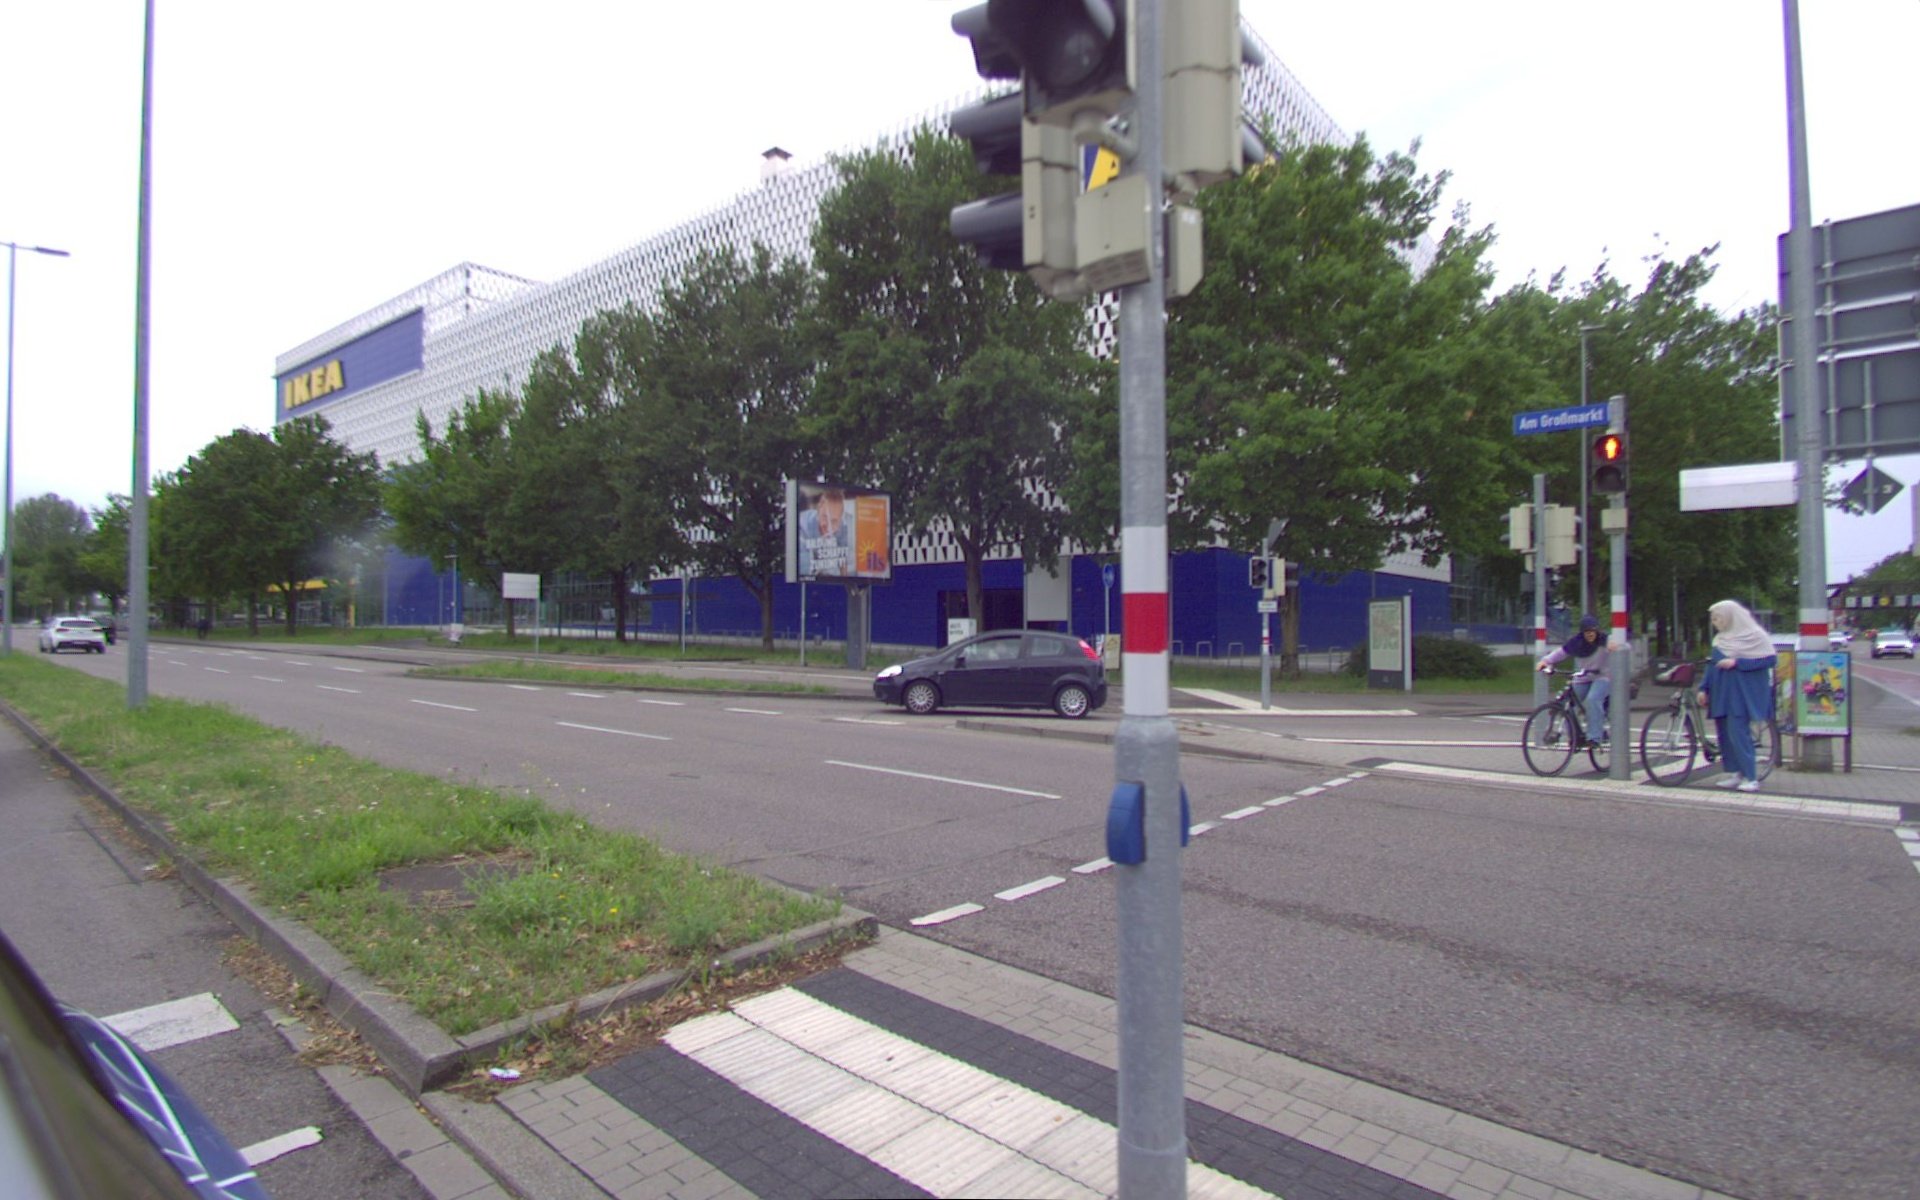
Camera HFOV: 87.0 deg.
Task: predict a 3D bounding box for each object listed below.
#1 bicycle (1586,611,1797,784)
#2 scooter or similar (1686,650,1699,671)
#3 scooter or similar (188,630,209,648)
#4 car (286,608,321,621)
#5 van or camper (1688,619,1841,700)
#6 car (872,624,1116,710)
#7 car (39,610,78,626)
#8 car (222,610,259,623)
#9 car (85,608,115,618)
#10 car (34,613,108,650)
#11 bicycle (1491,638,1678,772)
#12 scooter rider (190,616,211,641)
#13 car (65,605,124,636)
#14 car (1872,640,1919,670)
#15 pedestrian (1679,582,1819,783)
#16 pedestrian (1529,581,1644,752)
[{"bbox_3d":[6.476,0.829,8.950,1.900,1.407,0.599,1,-3,-24],"label":"bicycle"},{"bbox_3d":[45.591,3.758,62.993,0.656,1.205,1.361,0,-1,36],"label":"scooter or similar"},{"bbox_3d":[-52.973,2.704,70.418,1.418,1.134,0.585,0,2,26],"label":"scooter or similar"},{"bbox_3d":[-100.389,2.217,154.772,1.995,1.829,3.953,0,0,34],"label":"car"},{"bbox_3d":[18.930,1.407,23.768,4.325,1.735,2.003,4,-4,-40],"label":"van or camper"},{"bbox_3d":[0.523,1.117,17.205,3.942,1.382,1.727,0,-3,-1],"label":"car"},{"bbox_3d":[-127.093,2.513,142.695,1.999,2.029,3.947,0,0,40],"label":"car"},{"bbox_3d":[-105.142,2.380,147.946,1.995,1.829,3.953,0,0,34],"label":"car"},{"bbox_3d":[-167.403,2.531,197.093,1.742,1.837,4.237,0,0,39],"label":"car"},{"bbox_3d":[-36.736,1.279,41.788,3.931,1.463,1.763,-1,-3,41],"label":"car"},{"bbox_3d":[5.992,0.978,9.685,1.913,1.174,0.510,2,0,-24],"label":"bicycle"},{"bbox_3d":[-52.911,1.996,70.531,1.033,1.733,0.790,0,0,26],"label":"scooter rider"},{"bbox_3d":[-49.718,1.151,58.110,4.358,1.668,1.823,0,-3,40],"label":"car"},{"bbox_3d":[58.025,3.392,62.586,1.998,1.606,4.517,-6,-4,38],"label":"car"},{"bbox_3d":[6.749,0.697,8.679,0.680,1.639,0.643,2,-3,-17],"label":"pedestrian"},{"bbox_3d":[5.993,0.614,9.694,0.638,1.560,0.656,2,0,-24],"label":"pedestrian"}]
